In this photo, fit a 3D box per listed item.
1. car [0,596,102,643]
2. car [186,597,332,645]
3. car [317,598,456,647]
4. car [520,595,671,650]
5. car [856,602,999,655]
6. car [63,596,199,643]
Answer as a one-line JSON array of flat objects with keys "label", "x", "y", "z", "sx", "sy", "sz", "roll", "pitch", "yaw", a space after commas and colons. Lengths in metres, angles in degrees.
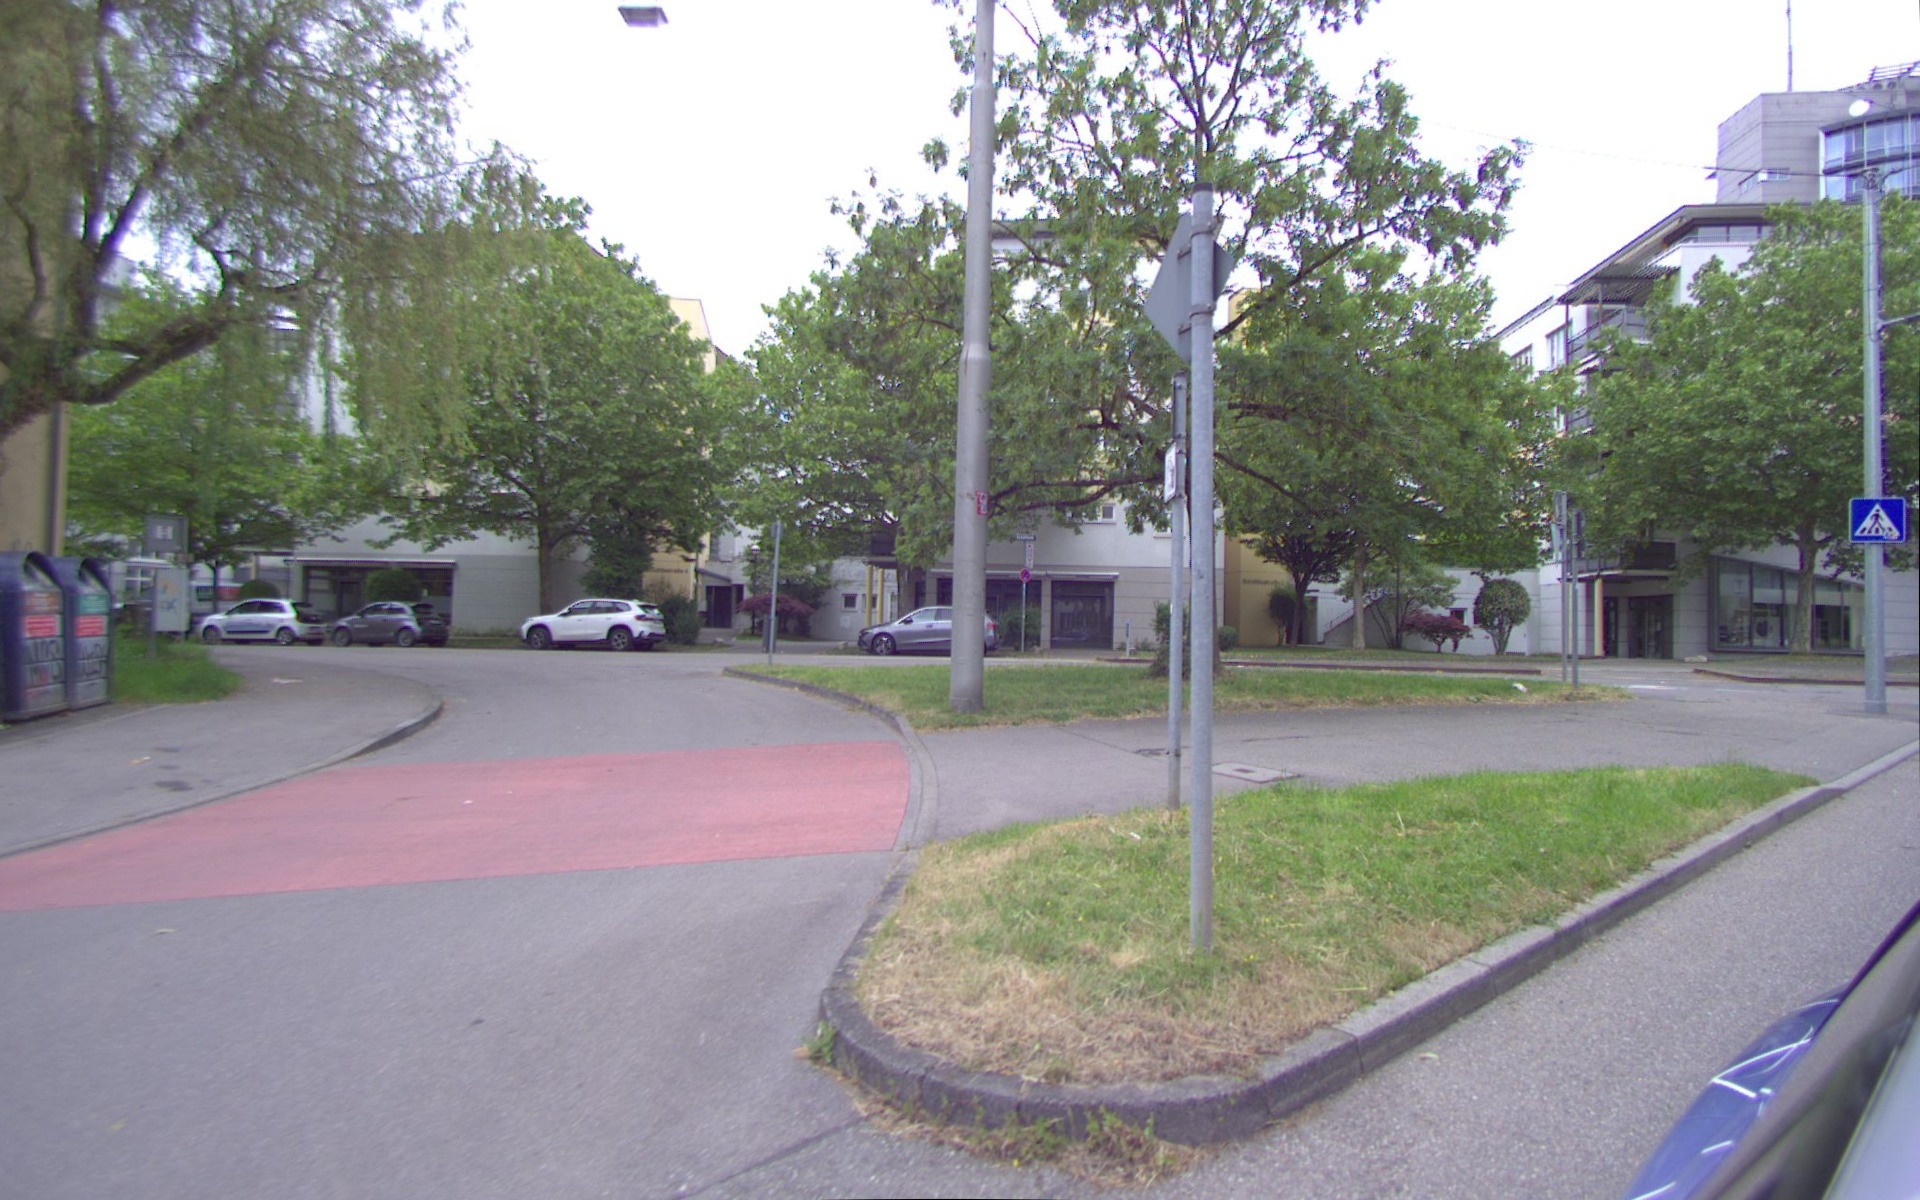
[{"label": "car", "x": -31.346, "y": 0.625, "z": 34.218, "sx": 3.283, "sy": 1.529, "sz": 1.678, "roll": 0, "pitch": 0, "yaw": 1}, {"label": "car", "x": -23.354, "y": 0.690, "z": 33.801, "sx": 3.653, "sy": 1.529, "sz": 1.799, "roll": 0, "pitch": 0, "yaw": 1}, {"label": "car", "x": -18.756, "y": 0.712, "z": 33.190, "sx": 3.660, "sy": 1.529, "sz": 1.796, "roll": 0, "pitch": 0, "yaw": 8}, {"label": "car", "x": -11.331, "y": 0.665, "z": 31.630, "sx": 4.093, "sy": 1.632, "sz": 1.797, "roll": 0, "pitch": 0, "yaw": 6}, {"label": "car", "x": -0.939, "y": 0.845, "z": 30.586, "sx": 4.167, "sy": 1.529, "sz": 1.798, "roll": 0, "pitch": 0, "yaw": 5}, {"label": "car", "x": -27.926, "y": 0.637, "z": 34.159, "sx": 3.283, "sy": 1.529, "sz": 1.678, "roll": 0, "pitch": 0, "yaw": 1}]
